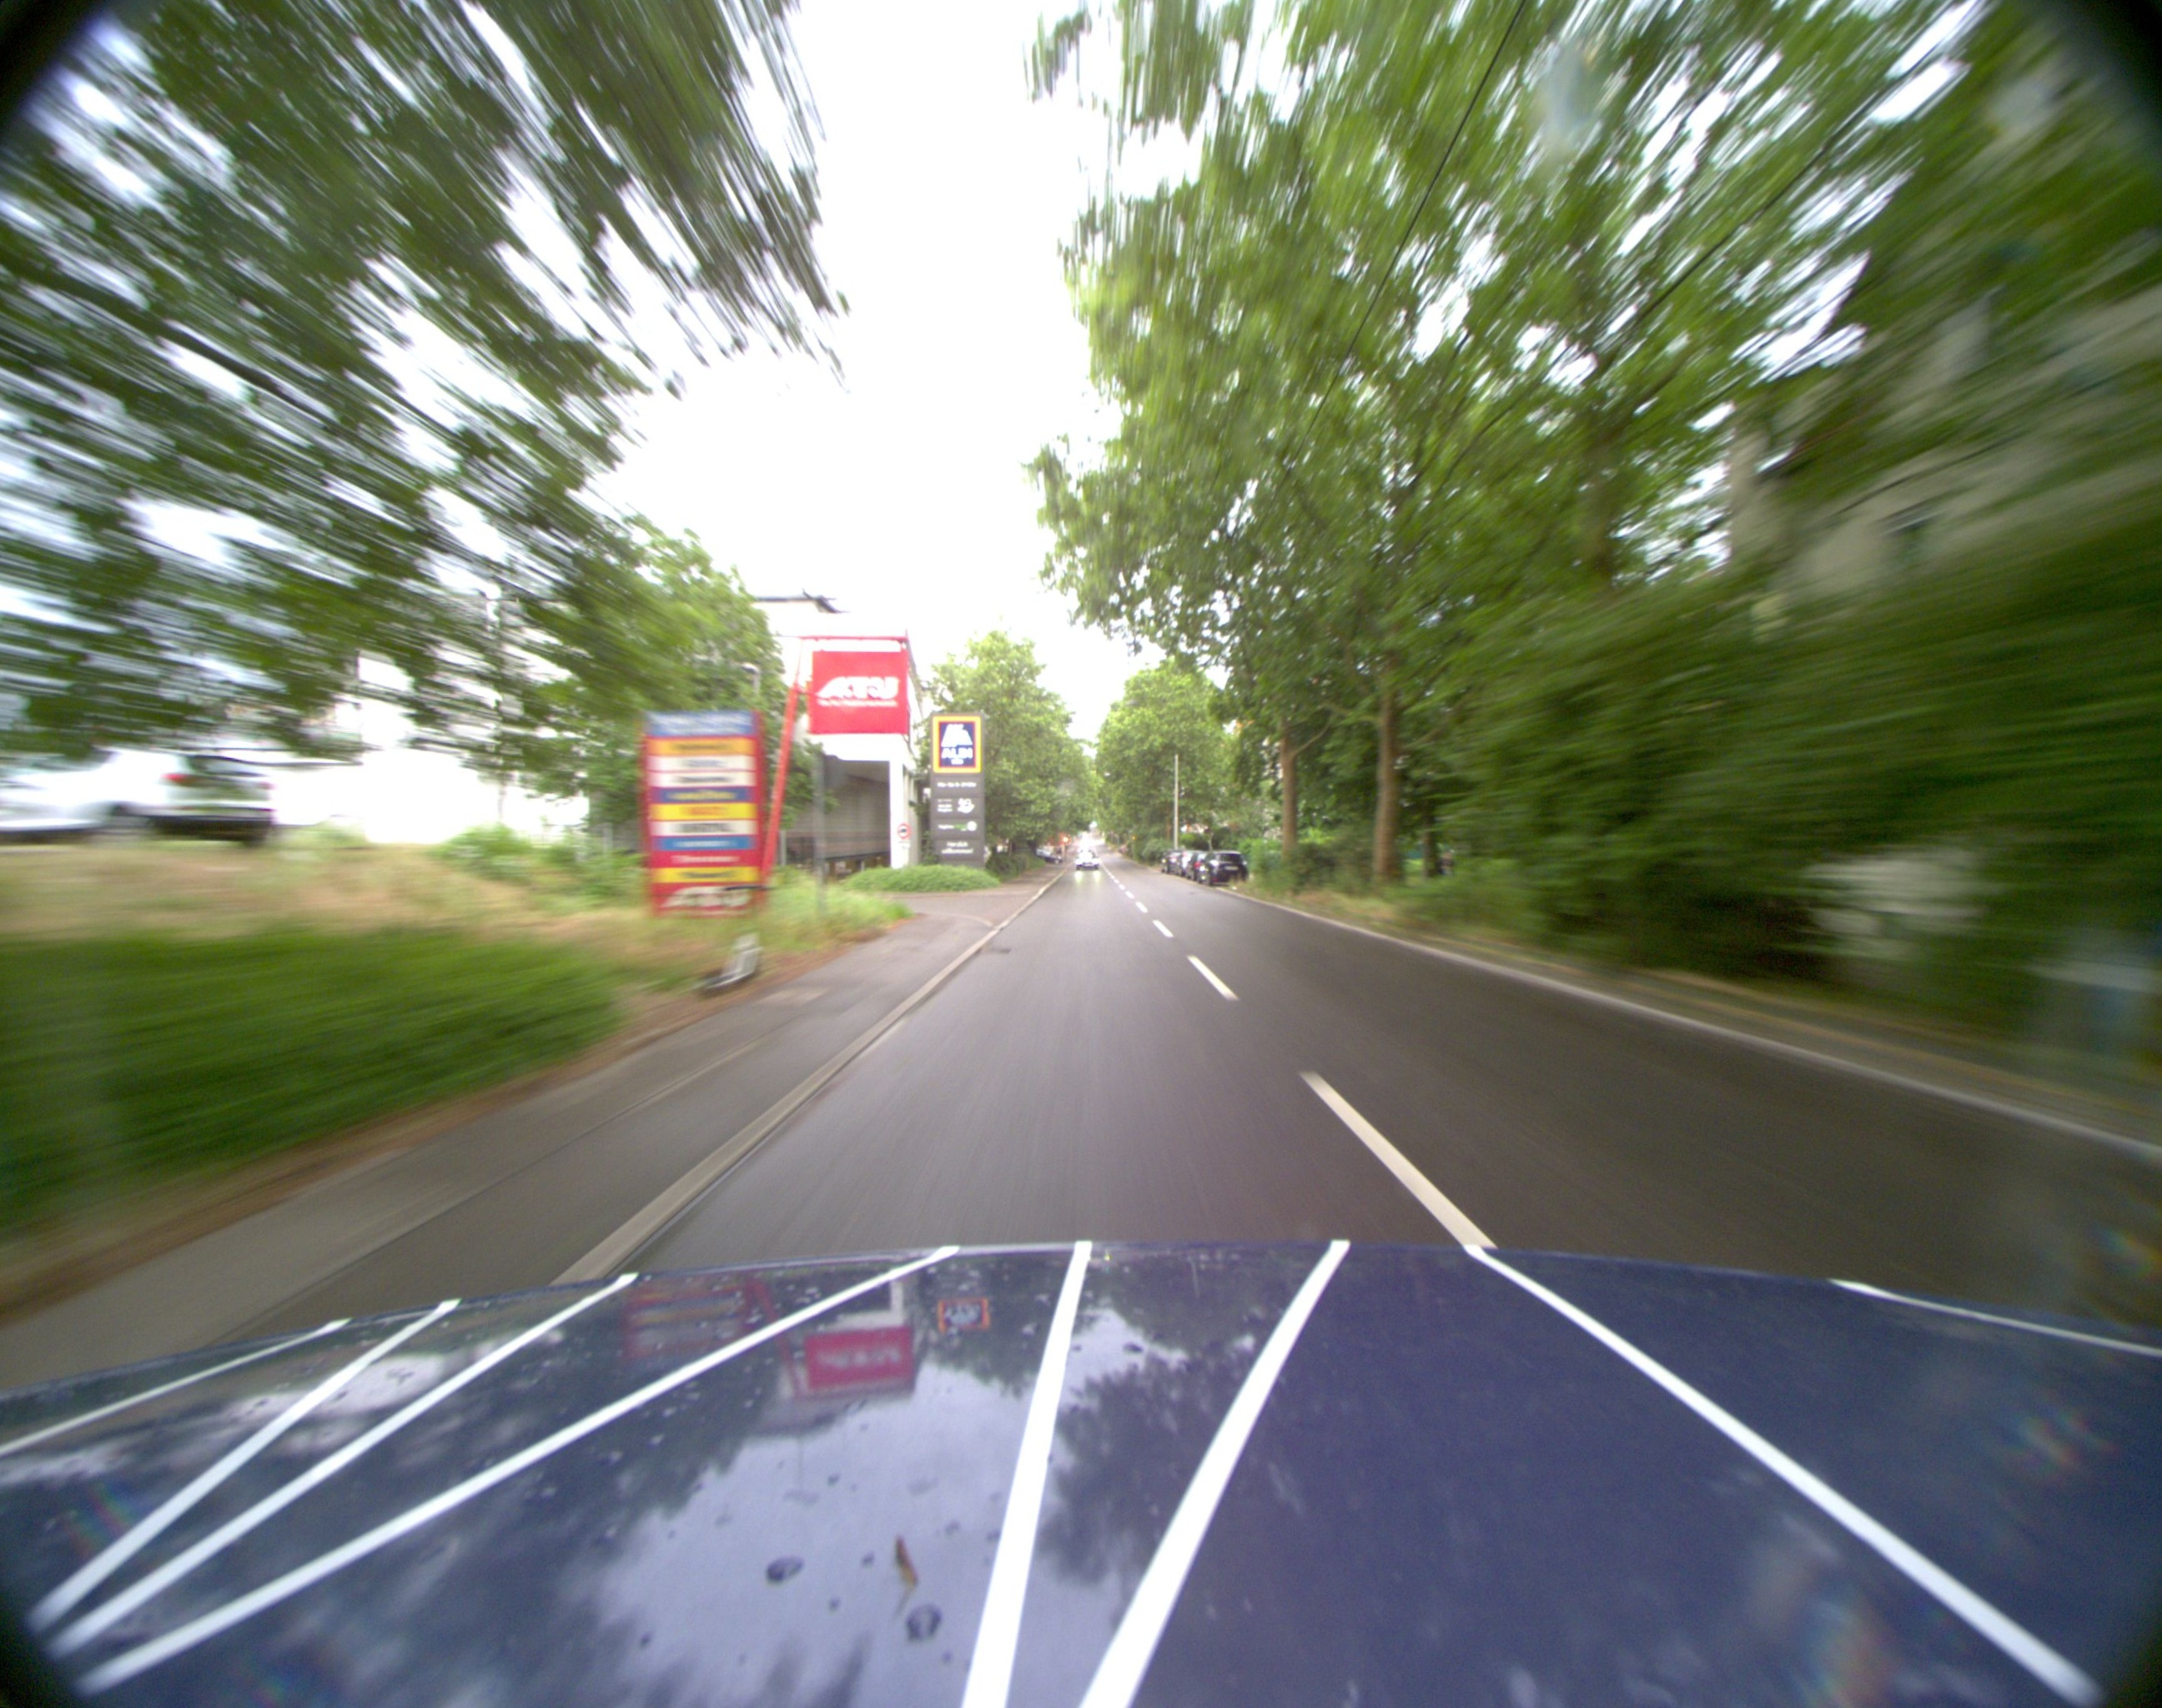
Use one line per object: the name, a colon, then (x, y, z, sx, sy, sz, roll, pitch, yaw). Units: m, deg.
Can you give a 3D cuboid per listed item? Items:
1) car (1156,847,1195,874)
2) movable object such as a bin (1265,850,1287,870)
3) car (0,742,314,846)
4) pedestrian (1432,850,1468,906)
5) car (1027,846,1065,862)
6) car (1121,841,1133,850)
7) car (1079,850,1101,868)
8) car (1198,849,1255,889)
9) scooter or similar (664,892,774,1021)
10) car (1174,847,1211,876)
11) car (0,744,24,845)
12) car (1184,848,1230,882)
car: (5.994, 0.362, 48.677, 1.869, 1.582, 4.238, 2, 1, -1)
movable object such as a bin: (13.768, 0.410, 53.596, 1.238, 1.372, 1.479, -1, 1, 3)
car: (-14.894, -0.860, 11.749, 4.110, 1.368, 1.903, -2, 1, 1)
pedestrian: (11.107, 0.704, 22.873, 0.588, 1.611, 1.021, -2, 3, 2)
car: (-3.654, -0.014, 78.284, 3.860, 1.538, 2.025, 0, 1, -5)
car: (8.206, -1.571, 136.001, 1.721, 1.501, 4.802, -1, 2, -1)
car: (0.706, 0.369, 62.676, 1.692, 1.334, 3.998, 0, 2, -2)
car: (6.243, 0.601, 32.953, 1.652, 1.529, 4.017, 3, 1, 0)
scooter or similar: (-3.918, 1.063, 8.347, 0.426, 1.135, 1.528, -3, 3, -1)
car: (6.414, 0.404, 44.040, 1.676, 1.499, 4.123, -2, 1, 2)
car: (-15.836, -0.700, 9.056, 3.928, 1.286, 1.833, -2, 1, 1)
car: (6.321, 0.525, 38.536, 1.676, 1.499, 3.873, 3, 1, 1)
